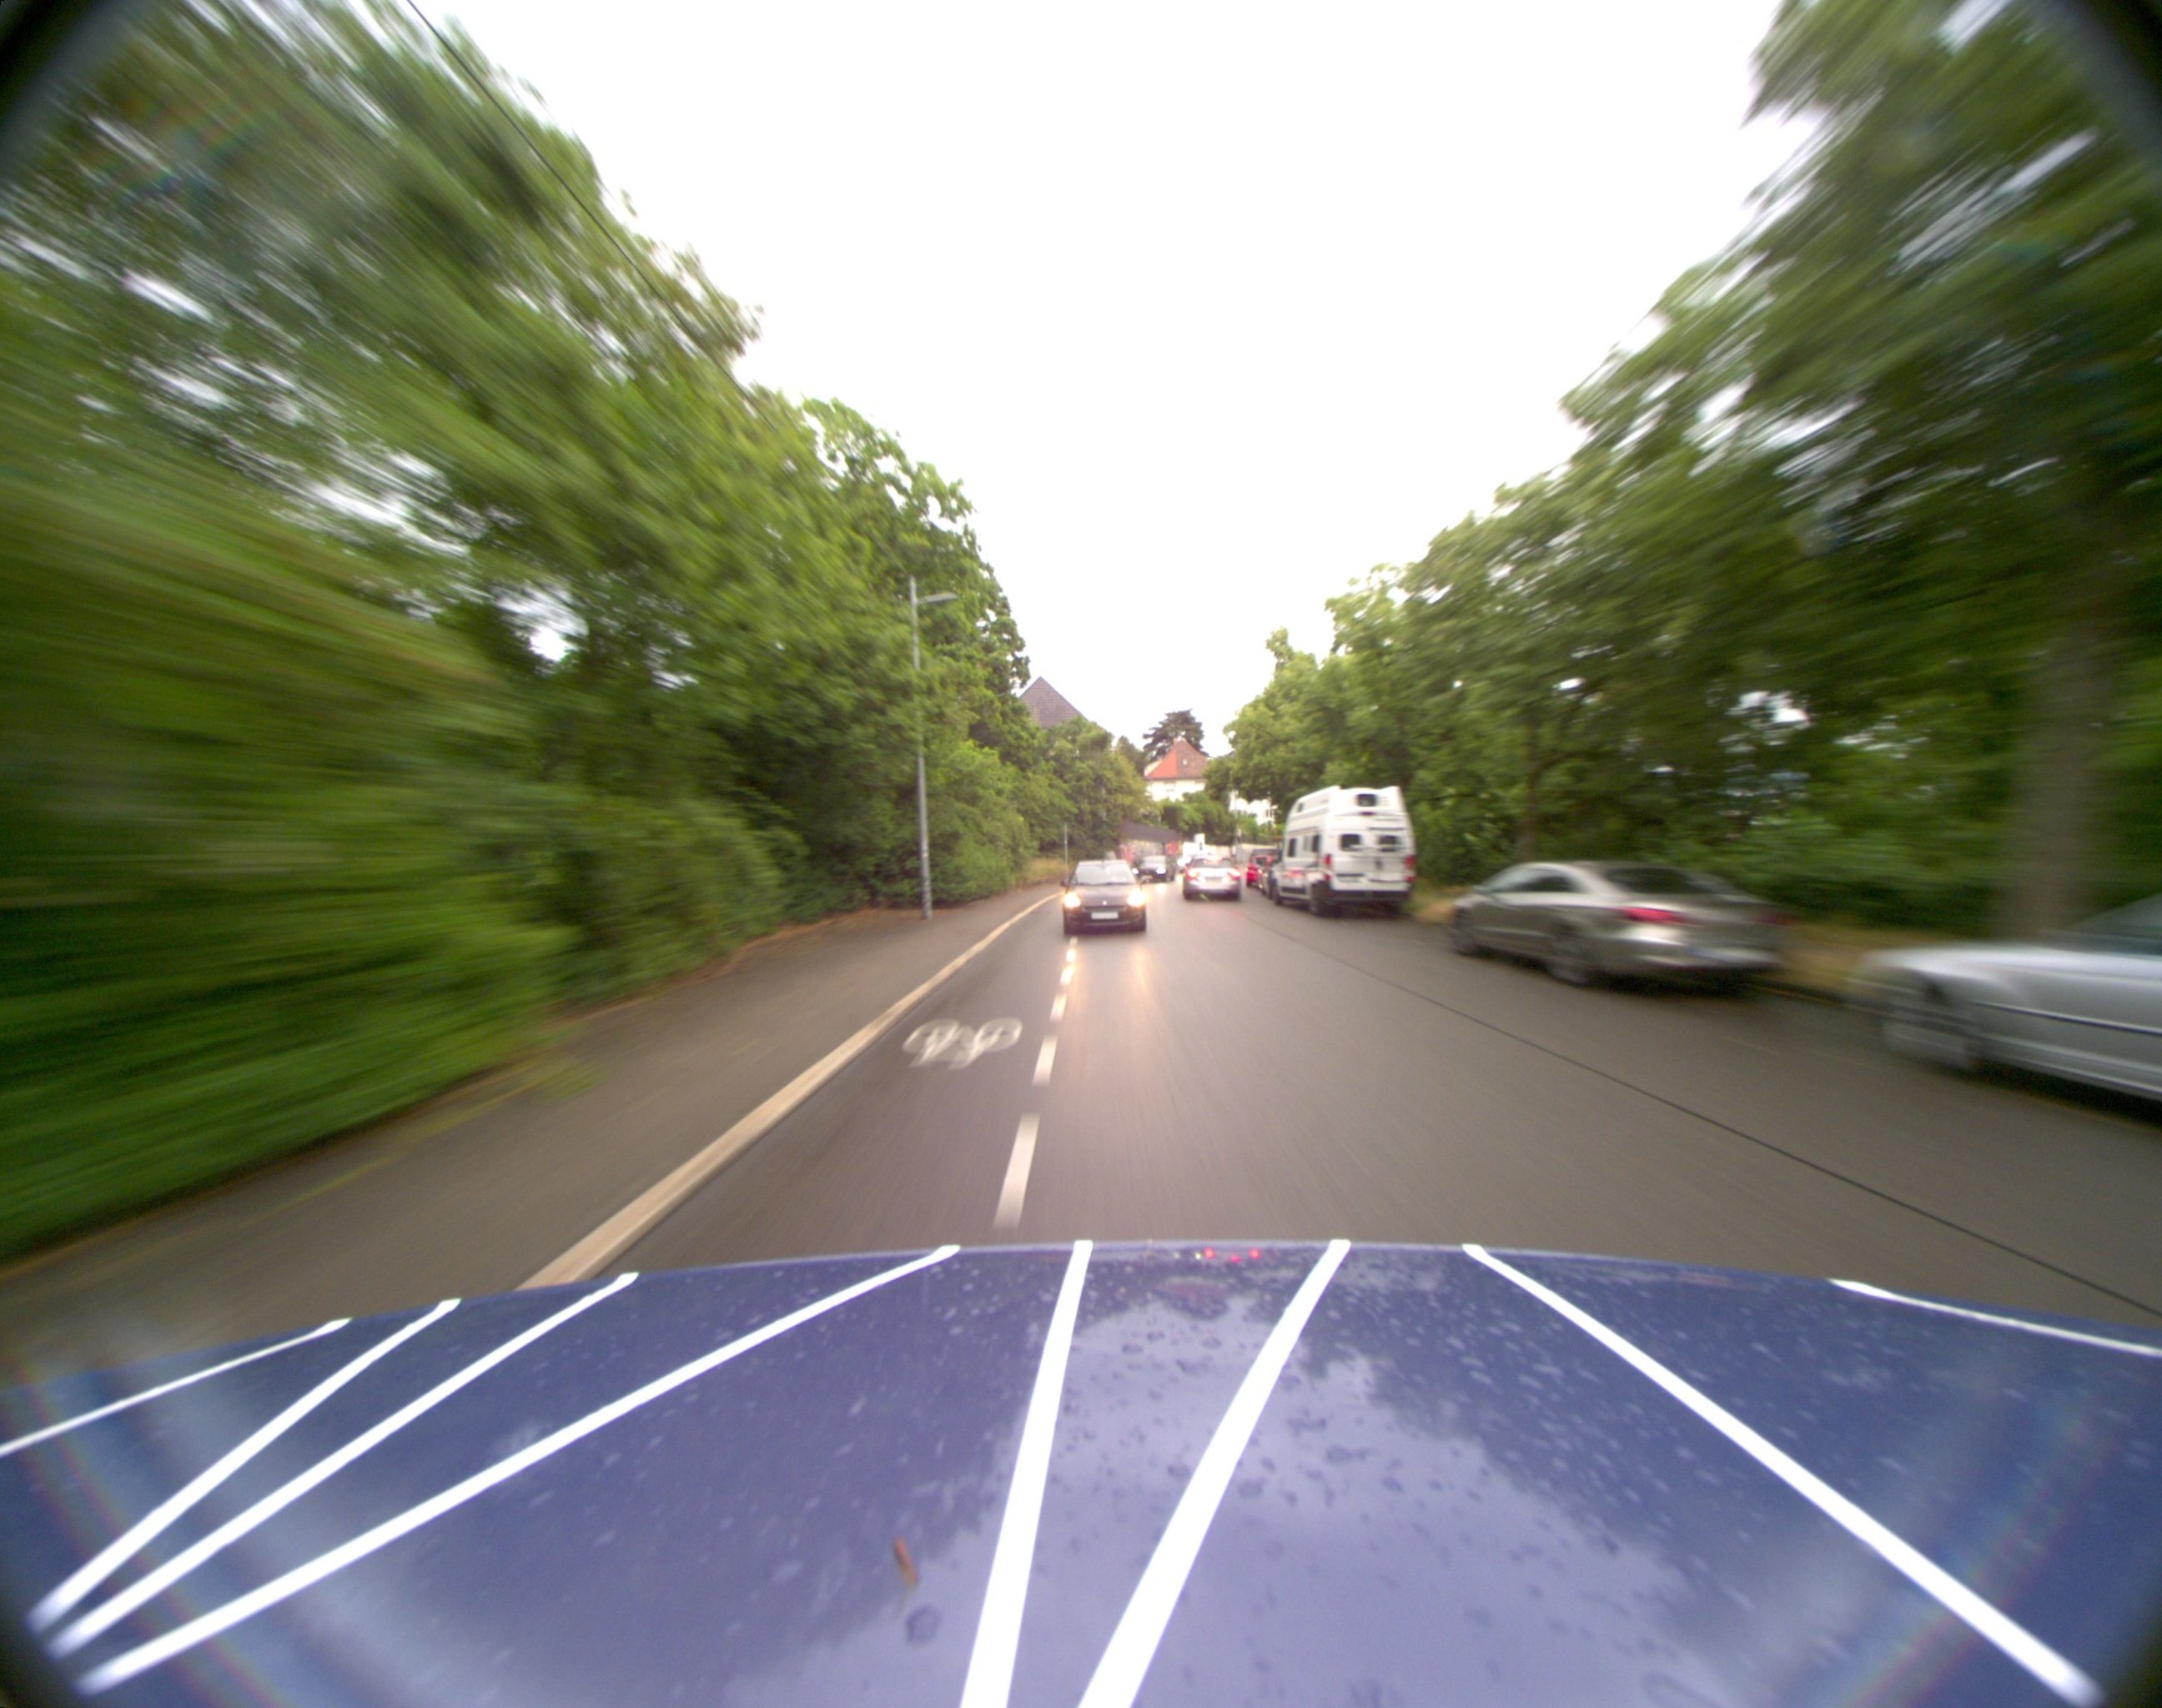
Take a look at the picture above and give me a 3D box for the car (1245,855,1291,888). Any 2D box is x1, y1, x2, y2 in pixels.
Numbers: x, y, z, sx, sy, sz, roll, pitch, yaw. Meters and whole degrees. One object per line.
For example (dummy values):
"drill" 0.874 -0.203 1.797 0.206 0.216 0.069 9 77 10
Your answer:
"car" 9.036 0.801 37.056 1.957 1.453 4.579 2 0 12

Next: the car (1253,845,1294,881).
"car" 11.754 0.543 46.261 1.956 1.956 5.009 3 1 18

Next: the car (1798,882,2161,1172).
"car" 6.403 0.899 3.451 1.998 1.397 4.715 1 -1 3

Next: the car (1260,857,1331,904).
"car" 7.287 0.828 26.190 1.957 1.400 4.211 2 0 10

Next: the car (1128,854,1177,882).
"car" 3.970 0.742 41.653 2.028 1.454 4.004 0 1 16

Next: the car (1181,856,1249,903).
"car" 4.422 0.792 25.617 1.887 1.394 4.257 0 1 5

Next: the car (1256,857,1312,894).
"car" 8.450 0.854 31.875 1.957 1.400 3.547 2 0 10

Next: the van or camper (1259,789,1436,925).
"van or camper" 6.716 0.032 20.230 2.511 3.009 6.561 1 1 2

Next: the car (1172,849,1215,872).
"car" 8.406 0.485 56.583 2.027 1.619 4.235 0 1 25

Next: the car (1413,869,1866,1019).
"car" 6.307 0.879 9.681 1.998 1.301 5.356 1 -1 3

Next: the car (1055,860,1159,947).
"car" 0.502 0.911 15.819 1.804 1.418 4.383 -2 0 1

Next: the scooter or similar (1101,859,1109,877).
"scooter or similar" 1.548 0.873 49.303 0.346 1.111 1.423 2 2 9
